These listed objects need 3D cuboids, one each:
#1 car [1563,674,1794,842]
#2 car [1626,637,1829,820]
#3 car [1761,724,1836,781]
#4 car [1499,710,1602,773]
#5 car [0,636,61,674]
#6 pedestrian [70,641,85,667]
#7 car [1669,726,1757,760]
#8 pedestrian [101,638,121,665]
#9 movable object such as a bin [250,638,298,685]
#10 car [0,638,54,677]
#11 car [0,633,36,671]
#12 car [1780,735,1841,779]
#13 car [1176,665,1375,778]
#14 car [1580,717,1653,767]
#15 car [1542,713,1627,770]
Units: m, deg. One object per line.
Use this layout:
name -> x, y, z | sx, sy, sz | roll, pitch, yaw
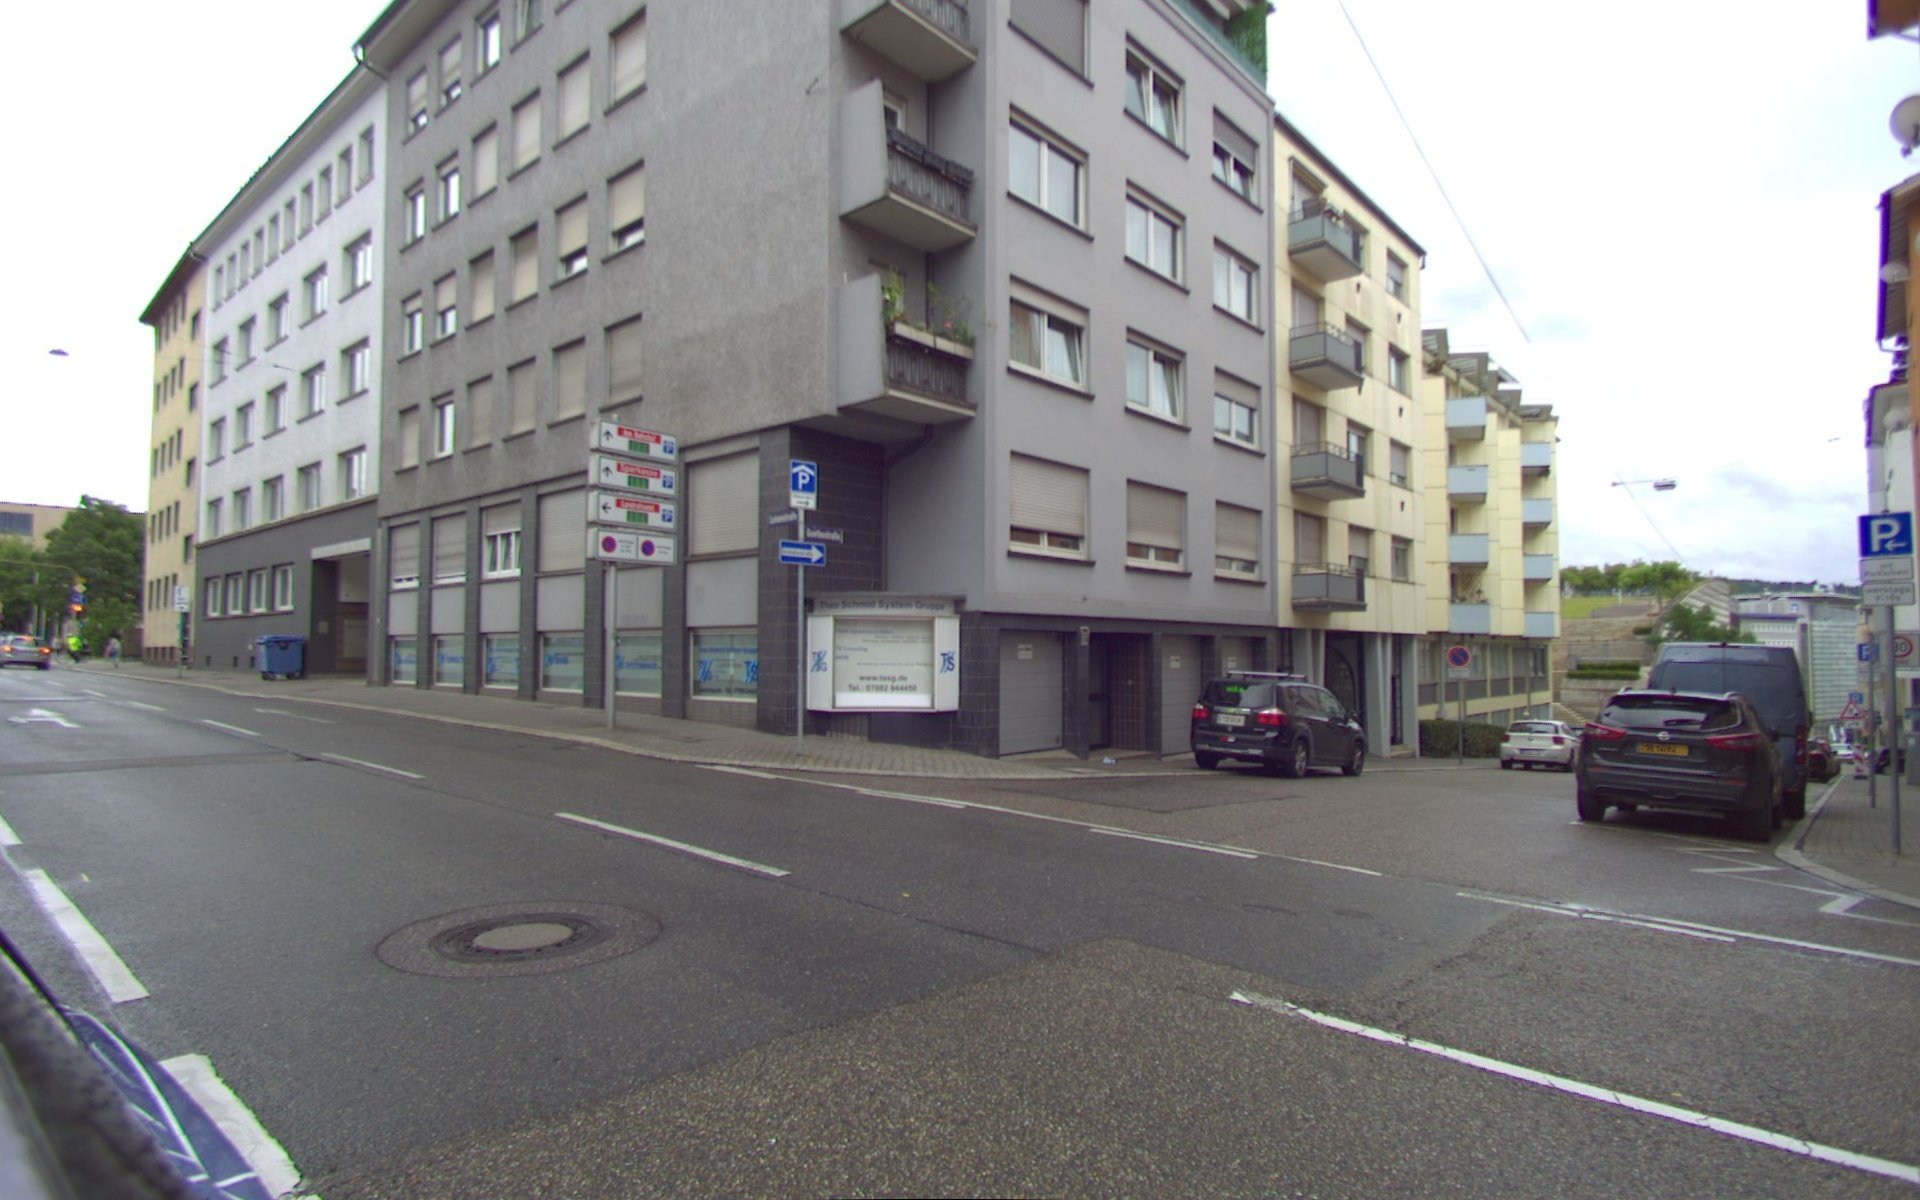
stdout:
car -> 8.703, 1.849, 12.129 | 1.842, 1.589, 4.098 | -1, -8, 41
car -> 12.899, 2.107, 16.827 | 2.249, 2.481, 5.975 | -2, -7, 41
car -> 28.432, 5.170, 34.266 | 1.817, 1.688, 3.998 | -1, -8, 41
car -> 16.950, 4.051, 28.969 | 1.840, 1.559, 3.945 | -1, -7, 41
car -> -47.777, 2.766, 50.731 | 1.902, 1.728, 3.877 | -2, 0, 42
pedestrian -> -46.517, 2.853, 53.353 | 0.535, 1.380, 0.436 | -2, -6, 43
car -> 44.670, 8.491, 60.095 | 3.989, 1.688, 1.935 | 5, -6, -9
pedestrian -> -37.375, 2.275, 44.551 | 0.574, 1.158, 0.407 | 6, -6, -44
movable object such as a bin -> -20.564, 1.821, 30.335 | 1.096, 1.343, 0.933 | -2, 0, 42
car -> -41.601, 2.504, 44.663 | 4.371, 1.602, 1.858 | -1, -3, 41
car -> -49.984, 2.727, 51.856 | 1.692, 1.847, 3.744 | -2, 0, 42
car -> 33.461, 6.156, 39.776 | 1.722, 1.506, 3.998 | -1, -8, 41
car -> 5.677, 2.181, 17.860 | 1.794, 1.700, 4.186 | -1, -8, 41
car -> 24.566, 5.318, 37.822 | 1.747, 1.627, 3.945 | -1, -8, 41
car -> 20.395, 4.608, 32.999 | 1.747, 1.627, 3.945 | -1, -7, 41
